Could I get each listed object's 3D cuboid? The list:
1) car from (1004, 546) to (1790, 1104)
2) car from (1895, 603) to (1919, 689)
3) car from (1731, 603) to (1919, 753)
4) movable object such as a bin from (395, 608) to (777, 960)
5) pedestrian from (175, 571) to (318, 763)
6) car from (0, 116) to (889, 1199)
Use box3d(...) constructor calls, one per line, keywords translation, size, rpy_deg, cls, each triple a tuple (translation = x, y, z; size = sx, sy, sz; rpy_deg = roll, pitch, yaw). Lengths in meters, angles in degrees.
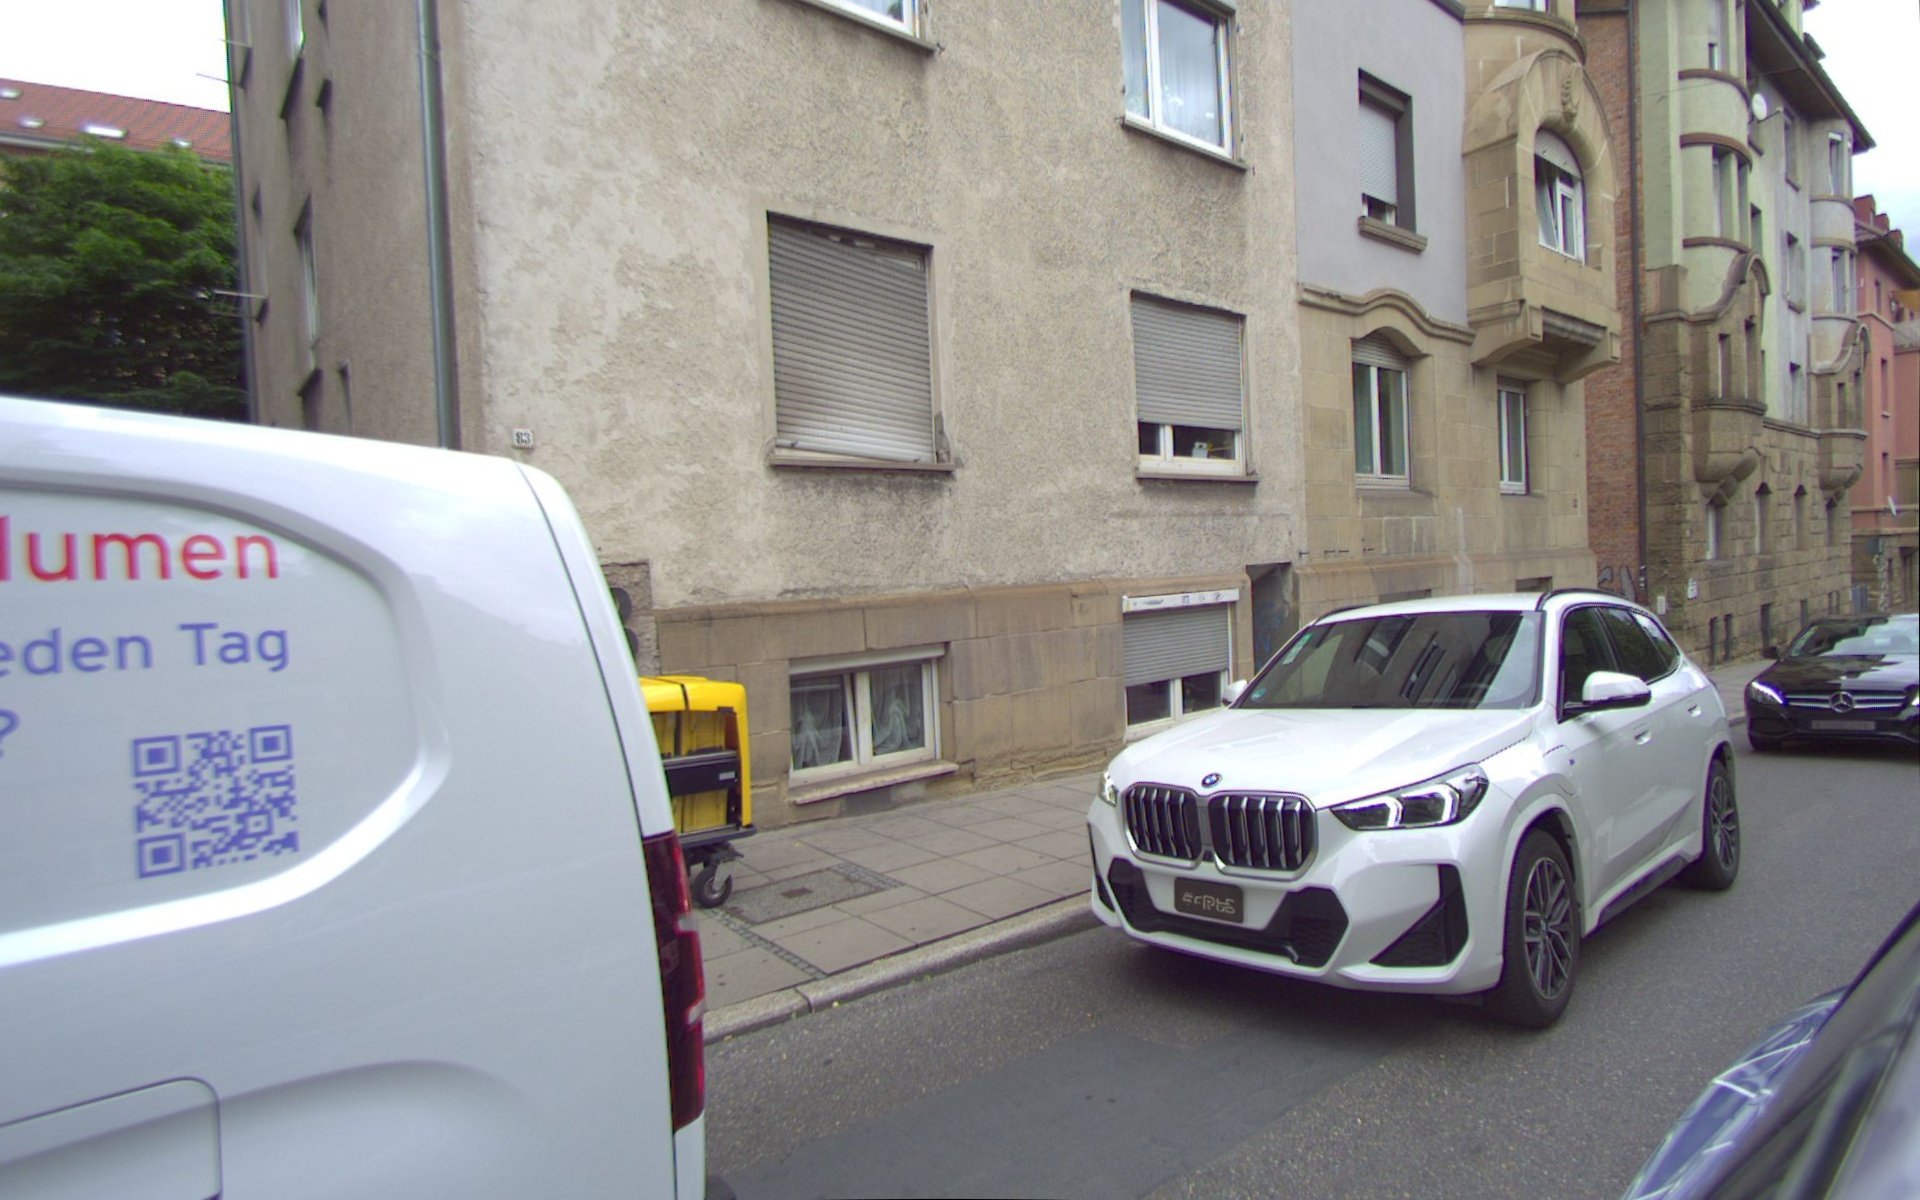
box3d(translation=(2.512, 0.722, 5.165), size=(4.483, 1.626, 1.851), rpy_deg=(0, -5, -41), cls="car")
box3d(translation=(17.629, 0.709, 17.248), size=(4.204, 1.387, 1.853), rpy_deg=(0, -4, -39), cls="car")
box3d(translation=(10.233, 0.747, 11.075), size=(4.204, 1.387, 1.853), rpy_deg=(0, -4, -39), cls="car")
box3d(translation=(-1.841, 0.790, 5.128), size=(1.664, 1.438, 0.720), rpy_deg=(-1, 1, -42), cls="movable object such as a bin")
box3d(translation=(-6.680, 0.596, 9.520), size=(0.729, 1.681, 0.765), rpy_deg=(-3, 2, -6), cls="pedestrian")
box3d(translation=(-2.618, 0.623, 0.521), size=(4.927, 1.848, 1.855), rpy_deg=(-2, 0, -36), cls="car")
